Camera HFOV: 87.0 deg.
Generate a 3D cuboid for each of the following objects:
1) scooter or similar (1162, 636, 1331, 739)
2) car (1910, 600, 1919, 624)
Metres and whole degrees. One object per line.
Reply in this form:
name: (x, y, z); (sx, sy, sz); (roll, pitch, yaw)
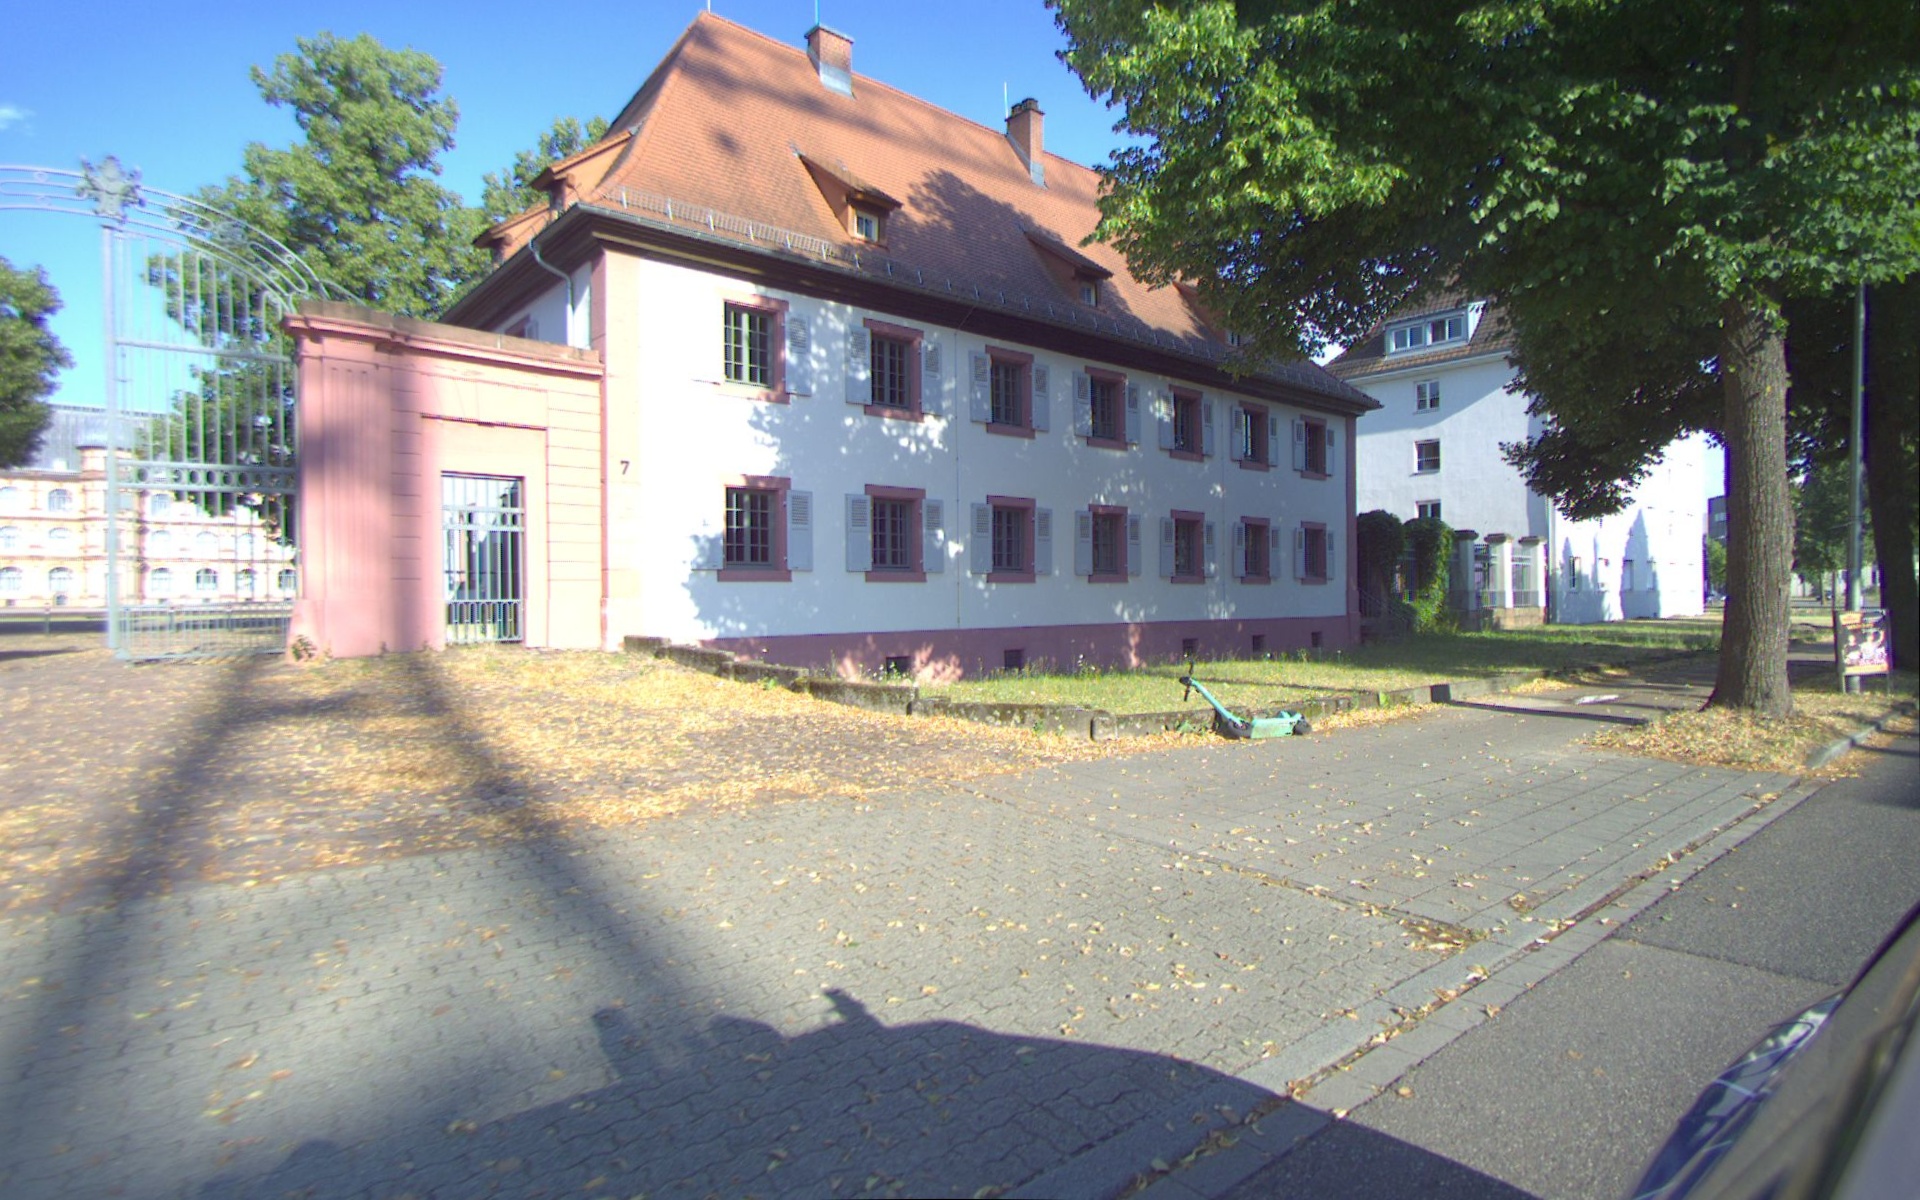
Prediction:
scooter or similar: (2.916, 0.856, 10.348); (1.045, 0.553, 1.232); (-2, 18, -41)
car: (60.246, 0.566, 61.154); (1.727, 1.441, 3.628); (2, -7, -22)
